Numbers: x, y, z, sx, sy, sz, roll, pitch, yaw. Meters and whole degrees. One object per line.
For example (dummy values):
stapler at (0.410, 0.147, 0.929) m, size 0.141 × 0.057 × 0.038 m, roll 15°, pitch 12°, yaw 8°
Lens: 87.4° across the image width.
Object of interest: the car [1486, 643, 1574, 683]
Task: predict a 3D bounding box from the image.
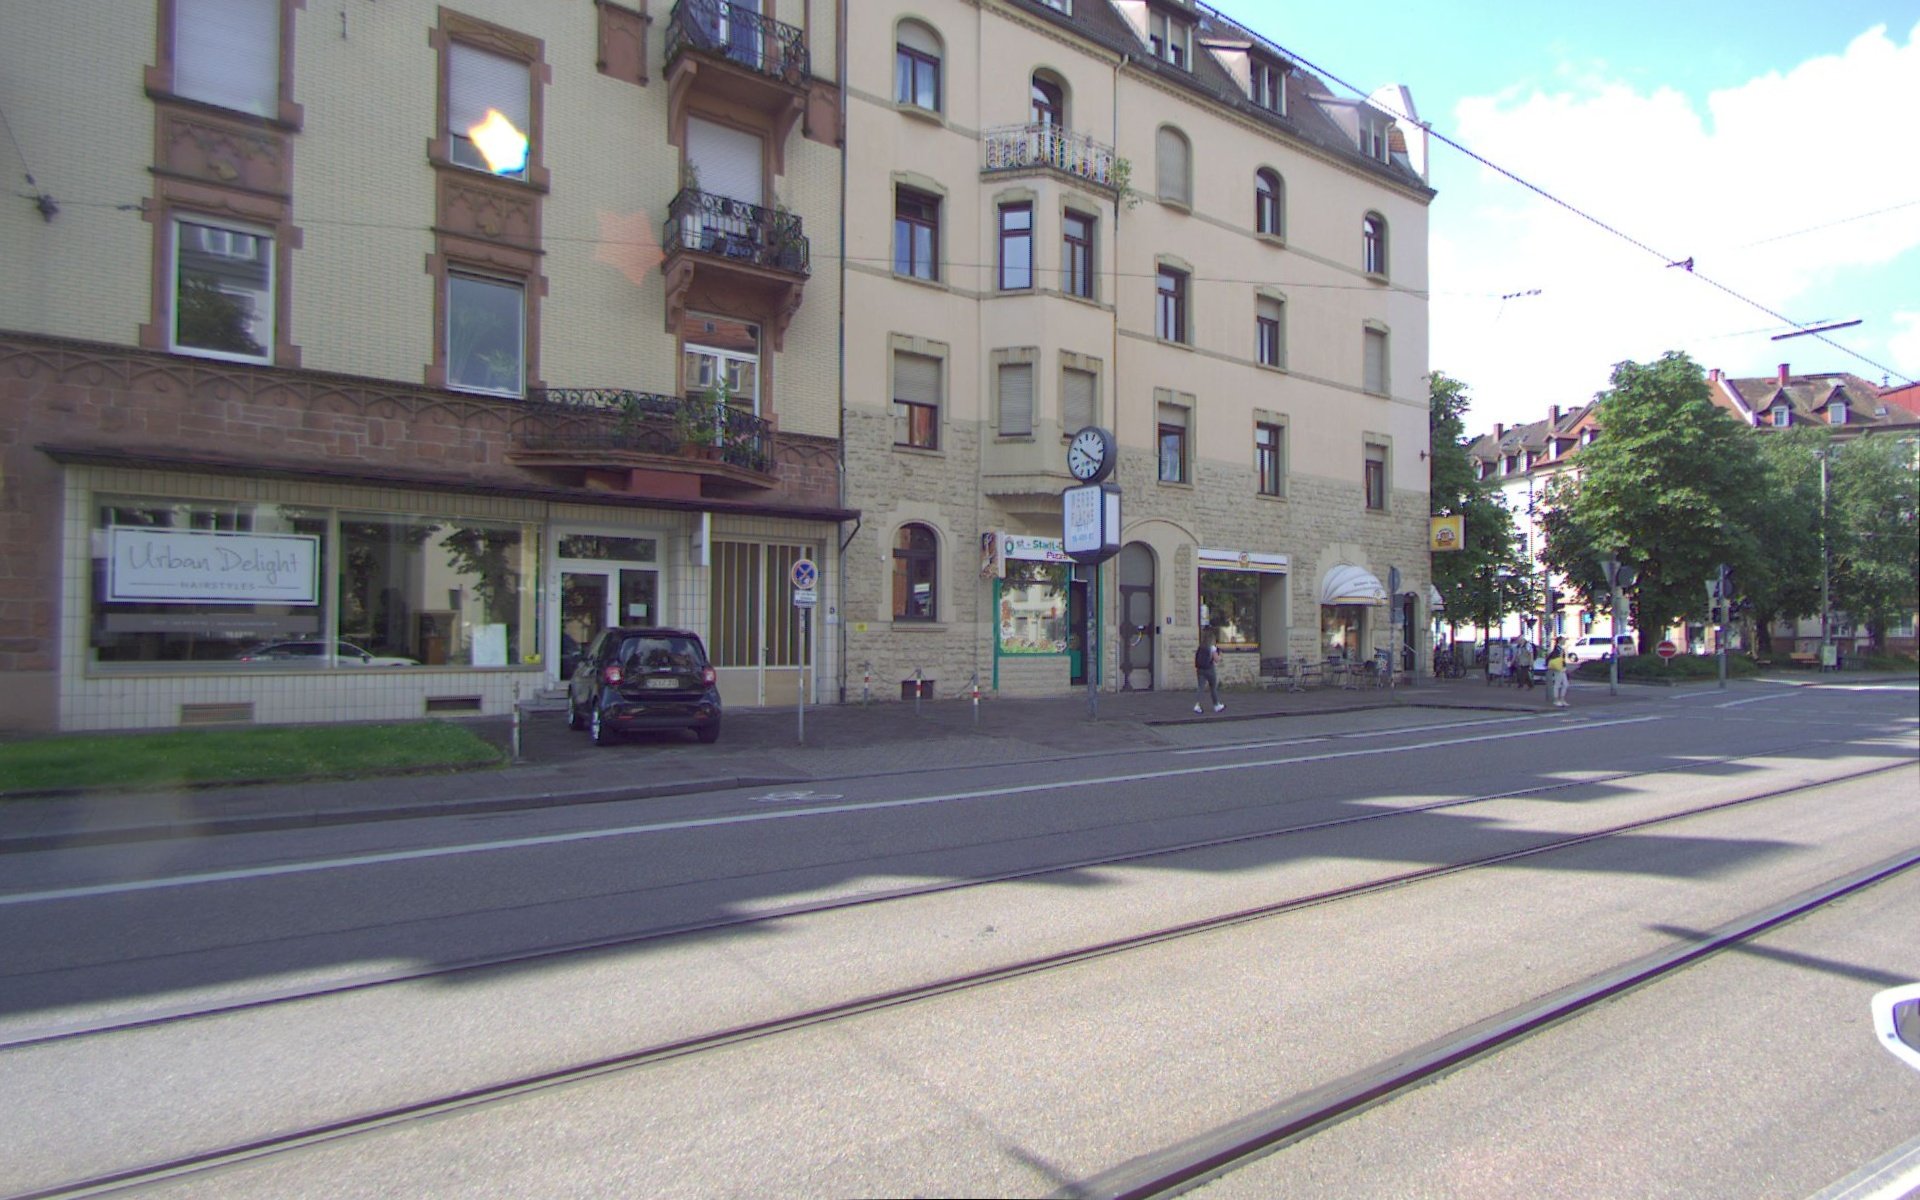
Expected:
car at (21.611, 2.358, 38.226) m, size 1.686 × 1.438 × 3.877 m, roll 0°, pitch -2°, yaw 10°

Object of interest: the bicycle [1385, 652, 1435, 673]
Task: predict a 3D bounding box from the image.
bicycle at (20.615, 2.849, 46.029) m, size 1.990 × 0.894 × 0.547 m, roll 1°, pitch -2°, yaw 13°

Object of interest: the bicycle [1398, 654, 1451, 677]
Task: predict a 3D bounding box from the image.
bicycle at (19.903, 2.802, 43.041) m, size 1.990 × 0.894 × 0.512 m, roll 1°, pitch -2°, yaw 13°

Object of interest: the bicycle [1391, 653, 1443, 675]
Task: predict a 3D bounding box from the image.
bicycle at (20.177, 2.827, 44.367) m, size 1.990 × 0.894 × 0.512 m, roll 1°, pitch -2°, yaw 13°

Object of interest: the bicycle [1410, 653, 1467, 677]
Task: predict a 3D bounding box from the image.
bicycle at (19.293, 2.614, 40.530) m, size 1.990 × 0.894 × 0.523 m, roll 1°, pitch -2°, yaw 13°

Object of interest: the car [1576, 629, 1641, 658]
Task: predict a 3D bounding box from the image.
car at (47.514, 3.168, 73.655) m, size 1.823 × 2.015 × 3.942 m, roll 1°, pitch -2°, yaw -10°

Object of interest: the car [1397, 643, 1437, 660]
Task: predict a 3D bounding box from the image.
car at (42.756, 4.794, 94.031) m, size 1.602 × 1.513 × 3.638 m, roll 1°, pitch -2°, yaw -13°

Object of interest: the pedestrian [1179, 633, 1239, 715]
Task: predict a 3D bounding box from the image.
pedestrian at (4.989, 1.461, 20.132) m, size 0.956 × 1.562 × 0.687 m, roll 1°, pitch 2°, yaw -41°

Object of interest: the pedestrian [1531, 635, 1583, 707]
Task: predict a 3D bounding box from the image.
pedestrian at (15.058, 1.766, 25.341) m, size 0.865 × 1.727 × 0.751 m, roll 1°, pitch 2°, yaw -35°

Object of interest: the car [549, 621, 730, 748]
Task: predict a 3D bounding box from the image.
car at (-4.731, 1.114, 14.528) m, size 1.688 × 1.506 × 3.425 m, roll 1°, pitch 0°, yaw -32°

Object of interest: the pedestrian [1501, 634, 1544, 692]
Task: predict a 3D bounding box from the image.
pedestrian at (16.949, 1.878, 30.265) m, size 0.813 × 1.694 × 0.850 m, roll 1°, pitch -2°, yaw -33°

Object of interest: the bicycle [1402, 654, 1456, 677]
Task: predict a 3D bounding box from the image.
bicycle at (19.536, 2.731, 41.858) m, size 1.990 × 0.894 × 0.512 m, roll 1°, pitch -2°, yaw 13°
